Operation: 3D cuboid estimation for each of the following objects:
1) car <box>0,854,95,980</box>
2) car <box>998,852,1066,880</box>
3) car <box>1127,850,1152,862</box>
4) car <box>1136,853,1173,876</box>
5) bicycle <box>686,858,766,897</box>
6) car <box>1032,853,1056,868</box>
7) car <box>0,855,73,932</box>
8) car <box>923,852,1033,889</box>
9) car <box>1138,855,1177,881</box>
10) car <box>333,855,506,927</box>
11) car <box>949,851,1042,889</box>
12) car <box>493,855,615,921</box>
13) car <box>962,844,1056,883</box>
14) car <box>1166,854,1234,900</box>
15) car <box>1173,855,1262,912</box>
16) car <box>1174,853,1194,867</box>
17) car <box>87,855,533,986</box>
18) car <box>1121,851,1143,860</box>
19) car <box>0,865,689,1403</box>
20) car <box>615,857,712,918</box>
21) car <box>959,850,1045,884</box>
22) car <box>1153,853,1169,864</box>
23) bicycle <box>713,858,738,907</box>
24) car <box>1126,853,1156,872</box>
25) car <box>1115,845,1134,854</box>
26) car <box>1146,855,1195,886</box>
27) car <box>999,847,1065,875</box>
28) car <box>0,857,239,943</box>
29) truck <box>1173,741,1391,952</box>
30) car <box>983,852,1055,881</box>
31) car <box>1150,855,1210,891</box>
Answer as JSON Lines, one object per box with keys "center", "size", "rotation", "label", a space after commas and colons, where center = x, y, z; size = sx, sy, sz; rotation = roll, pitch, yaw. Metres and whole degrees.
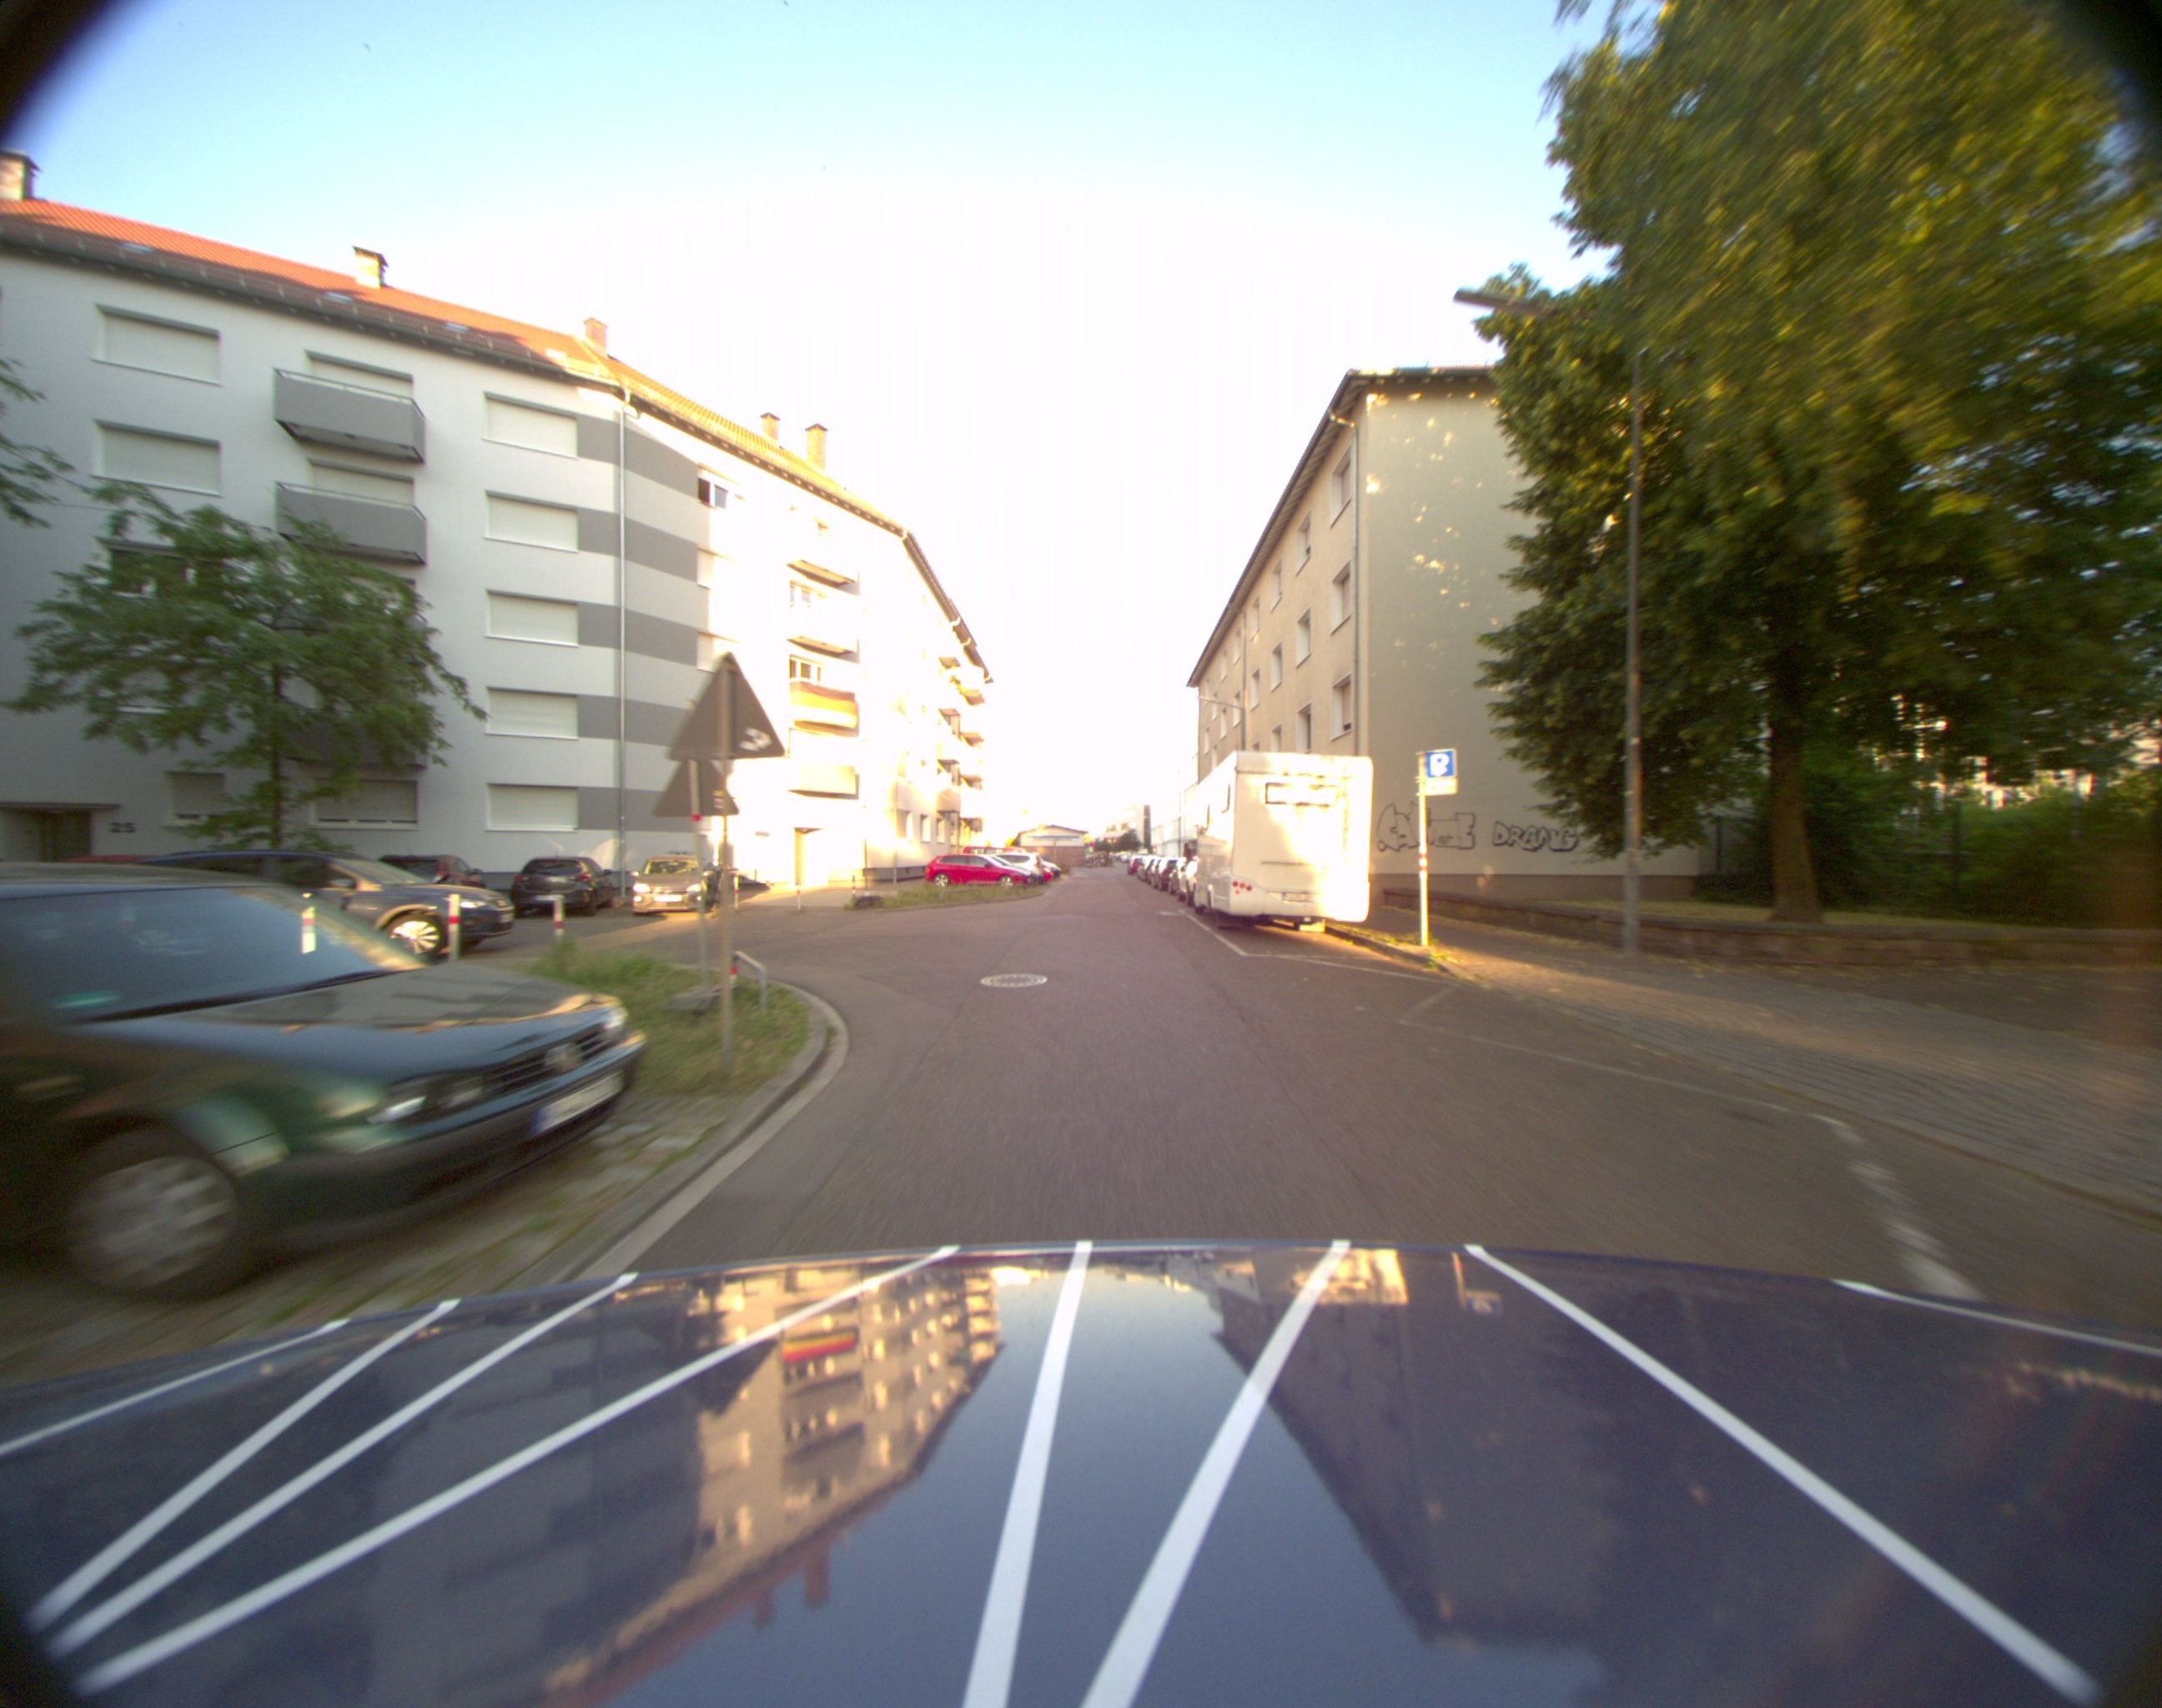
{"center": [-14.904, 0.752, 8.654], "size": [4.006, 1.497, 1.966], "rotation": [0, 0, -28], "label": "car"}
{"center": [-3.023, 0.740, 47.503], "size": [3.995, 1.674, 2.001], "rotation": [0, 0, 4], "label": "car"}
{"center": [9.547, 0.334, 124.825], "size": [3.996, 1.805, 2.000], "rotation": [0, 0, 3], "label": "car"}
{"center": [4.753, 0.643, 49.603], "size": [1.999, 1.436, 4.431], "rotation": [0, 0, 0], "label": "car"}
{"center": [-12.074, 0.775, 25.943], "size": [0.696, 1.266, 2.459], "rotation": [0, 0, 31], "label": "bicycle"}
{"center": [-3.950, 0.662, 81.165], "size": [2.000, 1.481, 4.427], "rotation": [-1, 0, -10], "label": "car"}
{"center": [-22.452, 0.799, 14.680], "size": [2.003, 1.521, 3.991], "rotation": [0, 0, -27], "label": "car"}
{"center": [-4.253, 0.670, 31.882], "size": [4.310, 1.532, 1.923], "rotation": [0, 0, 2], "label": "car"}
{"center": [4.413, 0.795, 44.230], "size": [1.792, 1.436, 4.431], "rotation": [0, 0, 0], "label": "car"}
{"center": [-15.386, 0.771, 17.964], "size": [2.003, 1.455, 3.991], "rotation": [0, 0, -24], "label": "car"}
{"center": [-3.818, 0.713, 34.405], "size": [3.997, 1.652, 2.000], "rotation": [0, 0, -1], "label": "car"}
{"center": [-13.266, 0.778, 19.376], "size": [1.849, 1.477, 3.991], "rotation": [0, 0, -24], "label": "car"}
{"center": [-3.720, 0.462, 39.749], "size": [4.684, 1.988, 2.000], "rotation": [0, 0, 2], "label": "car"}
{"center": [4.254, 0.778, 27.694], "size": [1.794, 1.525, 4.068], "rotation": [1, 0, 0], "label": "car"}
{"center": [4.002, 0.819, 23.117], "size": [1.911, 1.468, 4.910], "rotation": [2, 0, 2], "label": "car"}
{"center": [11.693, 0.660, 86.613], "size": [1.998, 1.477, 4.001], "rotation": [0, 0, 4], "label": "car"}
{"center": [-10.415, 0.804, 10.727], "size": [4.004, 1.564, 1.826], "rotation": [0, 0, -22], "label": "car"}
{"center": [9.393, 0.317, 140.968], "size": [3.996, 1.739, 2.000], "rotation": [0, 0, 2], "label": "car"}
{"center": [-4.182, 0.856, 3.162], "size": [4.113, 1.576, 1.854], "rotation": [0, 1, -2], "label": "car"}
{"center": [-10.953, 0.807, 20.183], "size": [2.003, 1.412, 3.991], "rotation": [0, 0, -25], "label": "car"}
{"center": [-3.759, 0.614, 36.842], "size": [3.997, 1.619, 1.784], "rotation": [0, 0, -1], "label": "car"}
{"center": [10.731, 0.595, 102.228], "size": [1.998, 1.510, 4.001], "rotation": [0, 0, 4], "label": "car"}
{"center": [-10.589, 0.802, 22.570], "size": [0.517, 1.375, 2.499], "rotation": [-1, 0, -28], "label": "bicycle"}
{"center": [4.692, 0.656, 60.264], "size": [1.999, 1.481, 4.431], "rotation": [0, 0, 0], "label": "car"}
{"center": [9.415, -1.017, 164.112], "size": [3.997, 2.002, 2.000], "rotation": [0, 0, 1], "label": "car"}
{"center": [4.422, 0.794, 38.216], "size": [1.998, 1.436, 4.432], "rotation": [0, 0, 1], "label": "car"}
{"center": [-3.457, 0.505, 54.272], "size": [4.427, 1.957, 2.001], "rotation": [0, 0, 4], "label": "car"}
{"center": [-19.728, 0.825, 15.552], "size": [2.003, 1.507, 3.991], "rotation": [0, 0, -26], "label": "car"}
{"center": [3.765, -0.134, 16.416], "size": [2.532, 3.334, 8.017], "rotation": [3, 0, 1], "label": "truck"}
{"center": [-3.604, 0.730, 44.948], "size": [3.996, 1.674, 2.000], "rotation": [0, 0, 3], "label": "car"}
{"center": [4.224, 0.759, 32.951], "size": [1.999, 1.436, 4.431], "rotation": [0, 0, 0], "label": "car"}
